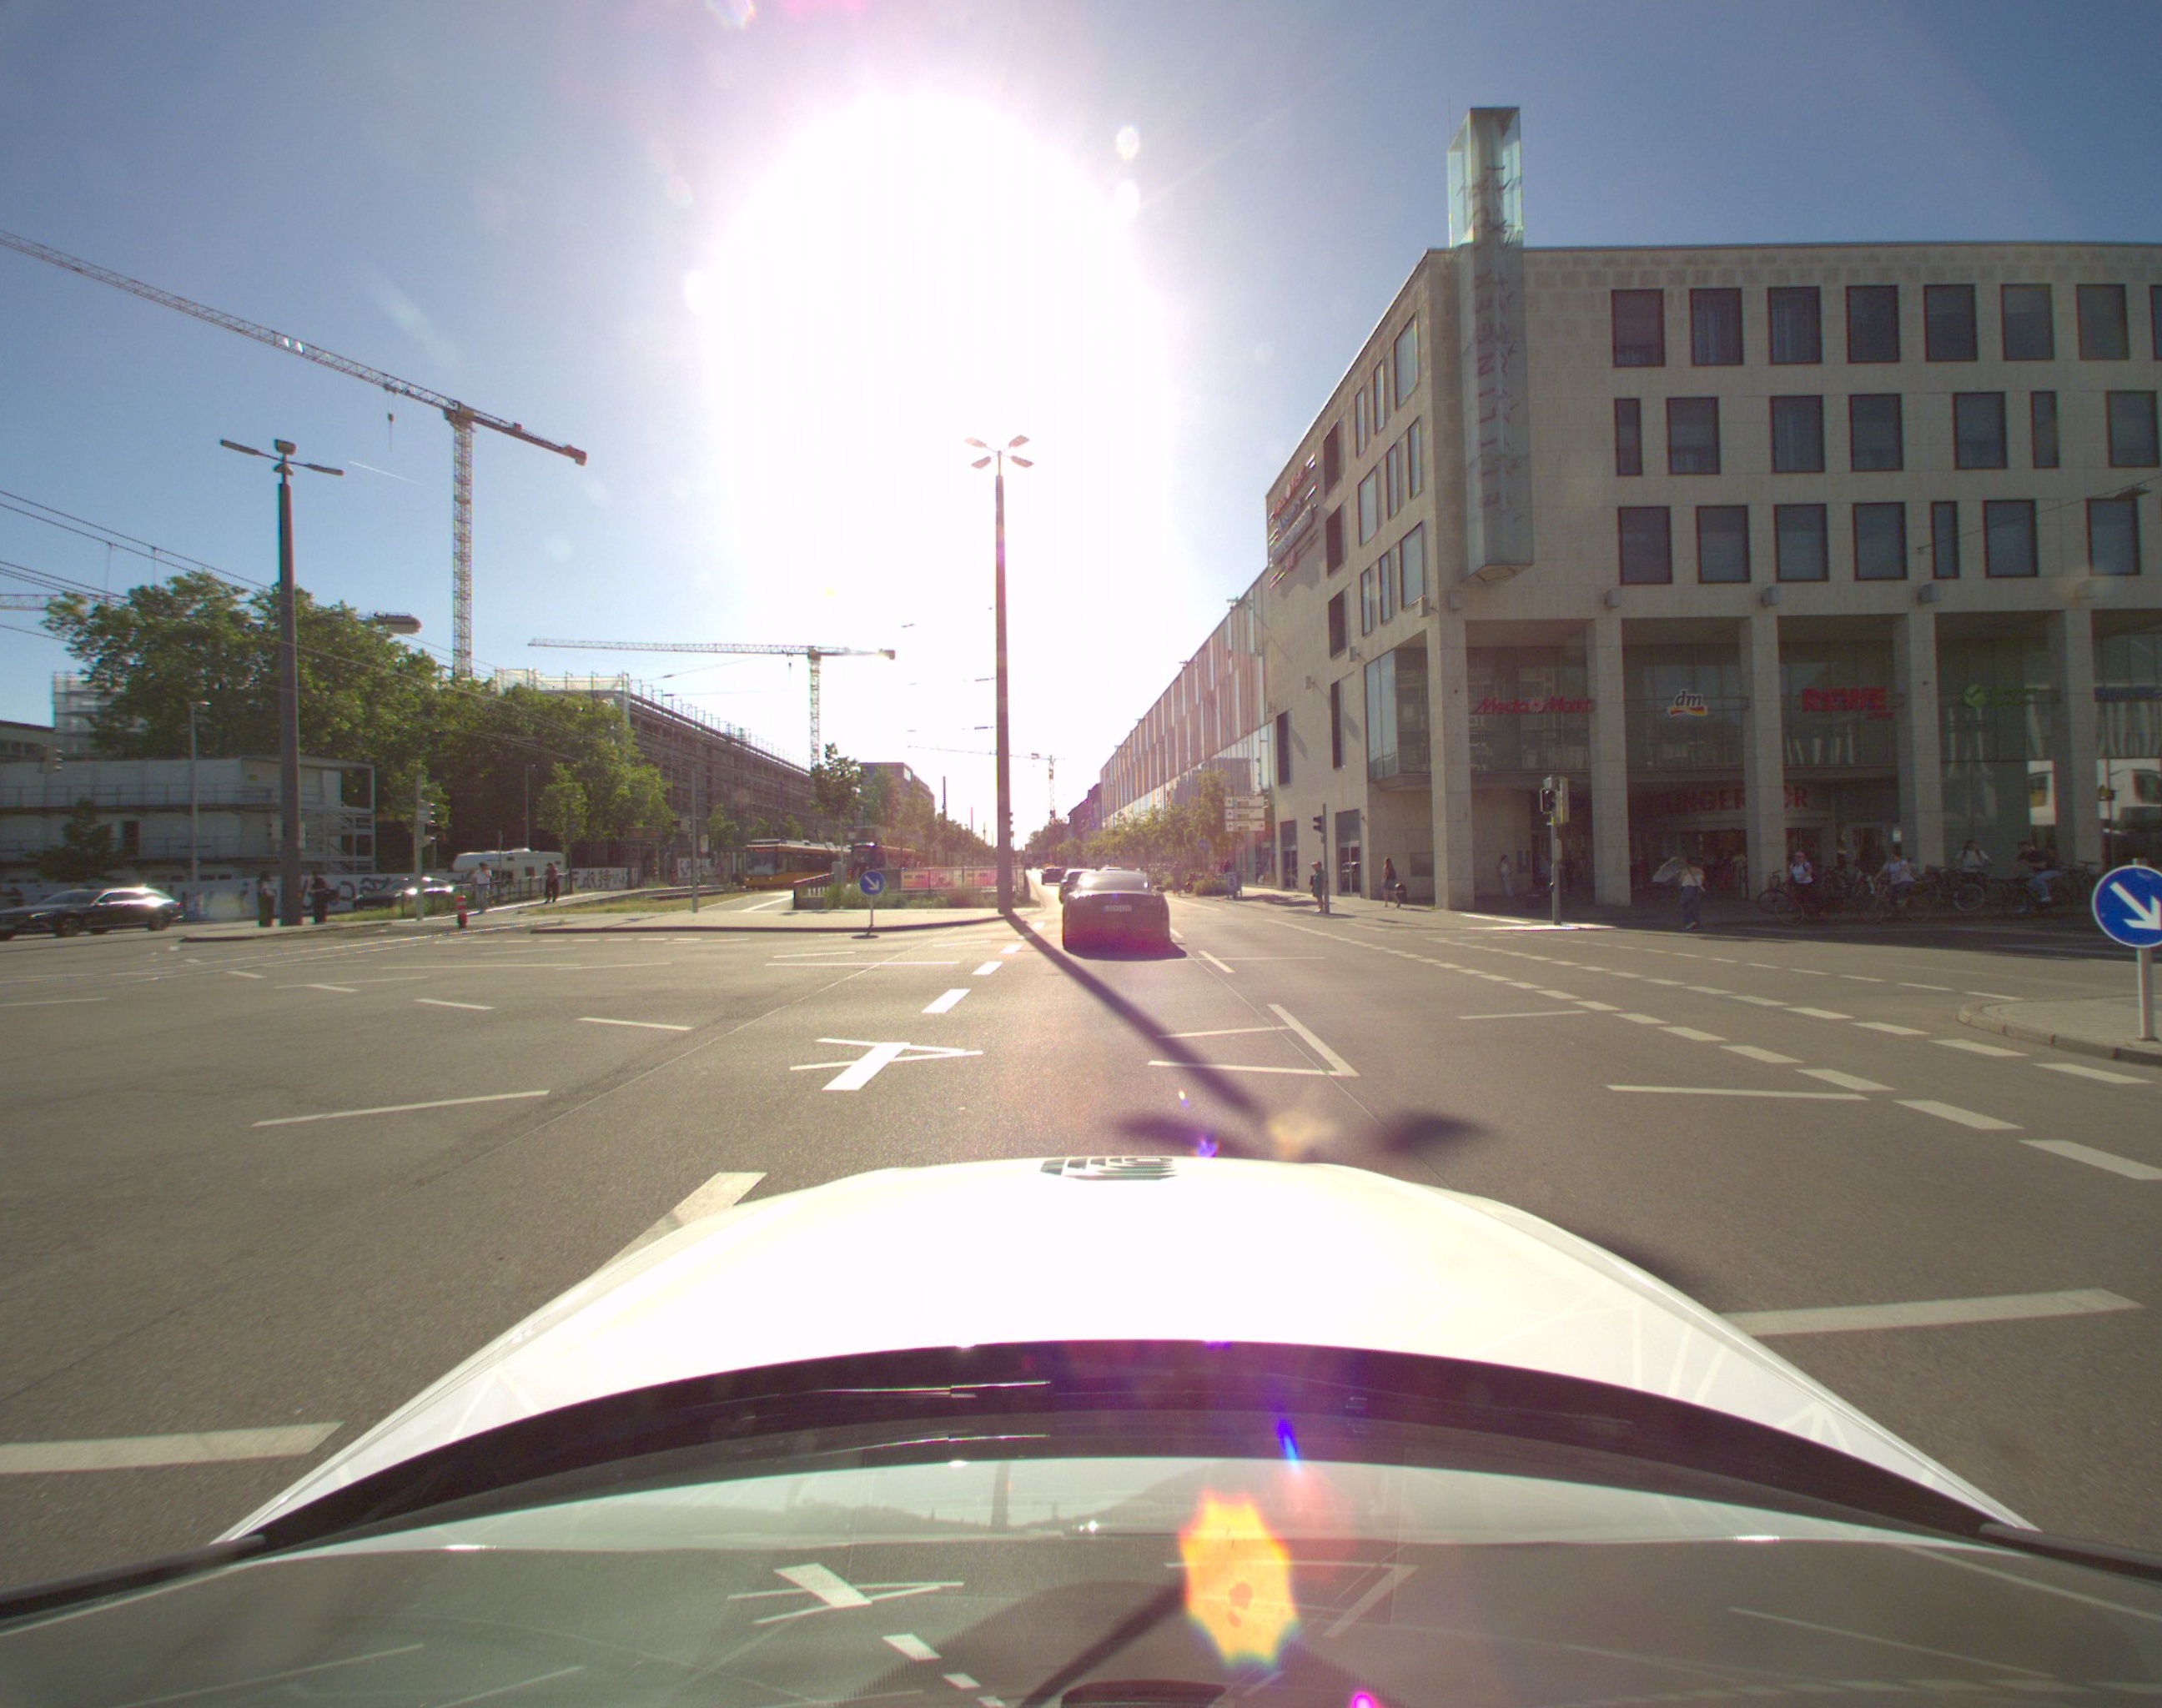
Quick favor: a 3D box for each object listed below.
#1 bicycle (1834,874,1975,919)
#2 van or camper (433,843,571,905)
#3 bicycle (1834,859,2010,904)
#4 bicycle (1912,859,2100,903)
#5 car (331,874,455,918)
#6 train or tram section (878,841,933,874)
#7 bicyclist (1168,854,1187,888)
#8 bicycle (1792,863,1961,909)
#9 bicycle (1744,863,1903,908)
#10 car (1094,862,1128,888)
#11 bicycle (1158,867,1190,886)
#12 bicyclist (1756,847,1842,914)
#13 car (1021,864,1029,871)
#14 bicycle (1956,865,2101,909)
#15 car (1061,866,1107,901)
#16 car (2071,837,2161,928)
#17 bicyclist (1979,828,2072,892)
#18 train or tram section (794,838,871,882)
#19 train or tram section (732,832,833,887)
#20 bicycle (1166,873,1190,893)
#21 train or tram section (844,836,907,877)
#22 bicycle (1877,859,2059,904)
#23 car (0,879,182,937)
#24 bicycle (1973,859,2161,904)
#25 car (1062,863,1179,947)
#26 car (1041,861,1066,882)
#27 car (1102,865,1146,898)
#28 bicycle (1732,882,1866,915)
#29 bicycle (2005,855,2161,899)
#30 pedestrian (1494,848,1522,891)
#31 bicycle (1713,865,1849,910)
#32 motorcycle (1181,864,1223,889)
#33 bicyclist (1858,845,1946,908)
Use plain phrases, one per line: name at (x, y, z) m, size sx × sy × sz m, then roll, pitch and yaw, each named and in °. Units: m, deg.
bicycle at (19.107, 0.966, 18.938) m, size 2.186 × 0.943 × 1.071 m, roll -1°, pitch 0°, yaw -1°
van or camper at (-30.618, 0.998, 43.545) m, size 2.601 × 2.937 × 7.328 m, roll -1°, pitch 0°, yaw -5°
bicycle at (22.539, 0.686, 21.997) m, size 1.063 × 1.094 × 3.495 m, roll -1°, pitch 0°, yaw -2°
bicycle at (24.926, 0.688, 22.120) m, size 1.063 × 1.094 × 3.495 m, roll -1°, pitch 0°, yaw -1°
car at (-29.875, 1.768, 35.550) m, size 1.942 × 1.707 × 4.359 m, roll -1°, pitch 0°, yaw -5°
train or tram section at (-19.526, 0.459, 92.331) m, size 2.865 × 3.279 × 22.110 m, roll 1°, pitch -1°, yaw -4°
bicyclist at (5.029, 0.907, 42.688) m, size 0.724 × 1.737 × 0.995 m, roll -1°, pitch -1°, yaw -8°
bicycle at (21.345, 0.819, 22.030) m, size 1.063 × 1.094 × 3.495 m, roll -1°, pitch 0°, yaw -2°
bicycle at (20.171, 0.824, 22.309) m, size 1.063 × 1.094 × 3.495 m, roll -1°, pitch 0°, yaw -2°
car at (1.868, 1.273, 51.213) m, size 1.780 × 1.546 × 4.034 m, roll -1°, pitch 0°, yaw -3°
bicycle at (6.243, 1.509, 54.832) m, size 2.077 × 1.205 × 0.951 m, roll -3°, pitch -1°, yaw 2°
bicyclist at (16.634, 0.604, 18.901) m, size 1.018 × 1.476 × 1.072 m, roll -1°, pitch -1°, yaw 0°
car at (-14.905, 3.630, 216.542) m, size 1.809 × 1.809 × 4.034 m, roll -1°, pitch 0°, yaw -3°
bicycle at (22.120, 0.762, 19.053) m, size 2.186 × 0.932 × 1.030 m, roll -1°, pitch -1°, yaw -1°
car at (0.067, 1.216, 34.807) m, size 1.713 × 1.320 × 3.995 m, roll -1°, pitch 0°, yaw -3°
car at (21.320, 0.467, 14.905) m, size 4.174 × 1.613 × 1.859 m, roll -1°, pitch -2°, yaw -2°
bicyclist at (22.057, 0.139, 19.050) m, size 0.930 × 1.433 × 1.040 m, roll -1°, pitch -1°, yaw 0°
train or tram section at (-21.083, 0.536, 70.347) m, size 2.842 × 3.321 × 15.942 m, roll 0°, pitch -1°, yaw -4°
train or tram section at (-20.088, 0.415, 55.897) m, size 2.865 × 3.310 × 13.053 m, roll 1°, pitch -1°, yaw -4°
bicycle at (5.067, 1.511, 42.675) m, size 0.728 × 0.983 × 2.327 m, roll 0°, pitch -1°, yaw -7°
train or tram section at (-18.295, 0.292, 73.749) m, size 2.865 × 3.279 × 15.162 m, roll 1°, pitch -1°, yaw -4°
bicycle at (23.791, 0.691, 22.024) m, size 1.063 × 1.094 × 3.495 m, roll -1°, pitch 0°, yaw -1°
car at (-32.191, 1.659, 26.203) m, size 1.996 × 1.561 × 4.807 m, roll -1°, pitch 0°, yaw -14°
bicycle at (26.528, 0.692, 21.957) m, size 1.063 × 1.094 × 3.495 m, roll -1°, pitch 0°, yaw -1°
car at (0.637, 0.924, 16.347) m, size 1.994 × 1.434 × 4.408 m, roll 0°, pitch -1°, yaw -2°
car at (-2.218, 1.424, 66.139) m, size 1.883 × 1.596 × 3.998 m, roll -1°, pitch 0°, yaw -1°
car at (2.056, 1.311, 39.885) m, size 1.713 × 1.432 × 3.995 m, roll -1°, pitch 0°, yaw -3°
bicycle at (16.605, 1.023, 18.884) m, size 2.186 × 0.671 × 1.071 m, roll -1°, pitch 0°, yaw -1°
bicycle at (27.681, 0.582, 22.148) m, size 1.063 × 1.094 × 3.495 m, roll -1°, pitch 0°, yaw -1°
pedestrian at (16.545, 0.597, 31.562) m, size 0.746 × 1.608 × 0.556 m, roll -2°, pitch 0°, yaw -5°
bicycle at (19.005, 0.877, 22.249) m, size 1.063 × 1.094 × 2.989 m, roll -1°, pitch 0°, yaw -2°
motorcycle at (6.819, 1.279, 46.002) m, size 2.182 × 1.324 × 0.903 m, roll -2°, pitch -1°, yaw 0°
bicyclist at (19.057, 0.503, 18.936) m, size 0.930 × 1.396 × 1.076 m, roll -1°, pitch -1°, yaw 0°
